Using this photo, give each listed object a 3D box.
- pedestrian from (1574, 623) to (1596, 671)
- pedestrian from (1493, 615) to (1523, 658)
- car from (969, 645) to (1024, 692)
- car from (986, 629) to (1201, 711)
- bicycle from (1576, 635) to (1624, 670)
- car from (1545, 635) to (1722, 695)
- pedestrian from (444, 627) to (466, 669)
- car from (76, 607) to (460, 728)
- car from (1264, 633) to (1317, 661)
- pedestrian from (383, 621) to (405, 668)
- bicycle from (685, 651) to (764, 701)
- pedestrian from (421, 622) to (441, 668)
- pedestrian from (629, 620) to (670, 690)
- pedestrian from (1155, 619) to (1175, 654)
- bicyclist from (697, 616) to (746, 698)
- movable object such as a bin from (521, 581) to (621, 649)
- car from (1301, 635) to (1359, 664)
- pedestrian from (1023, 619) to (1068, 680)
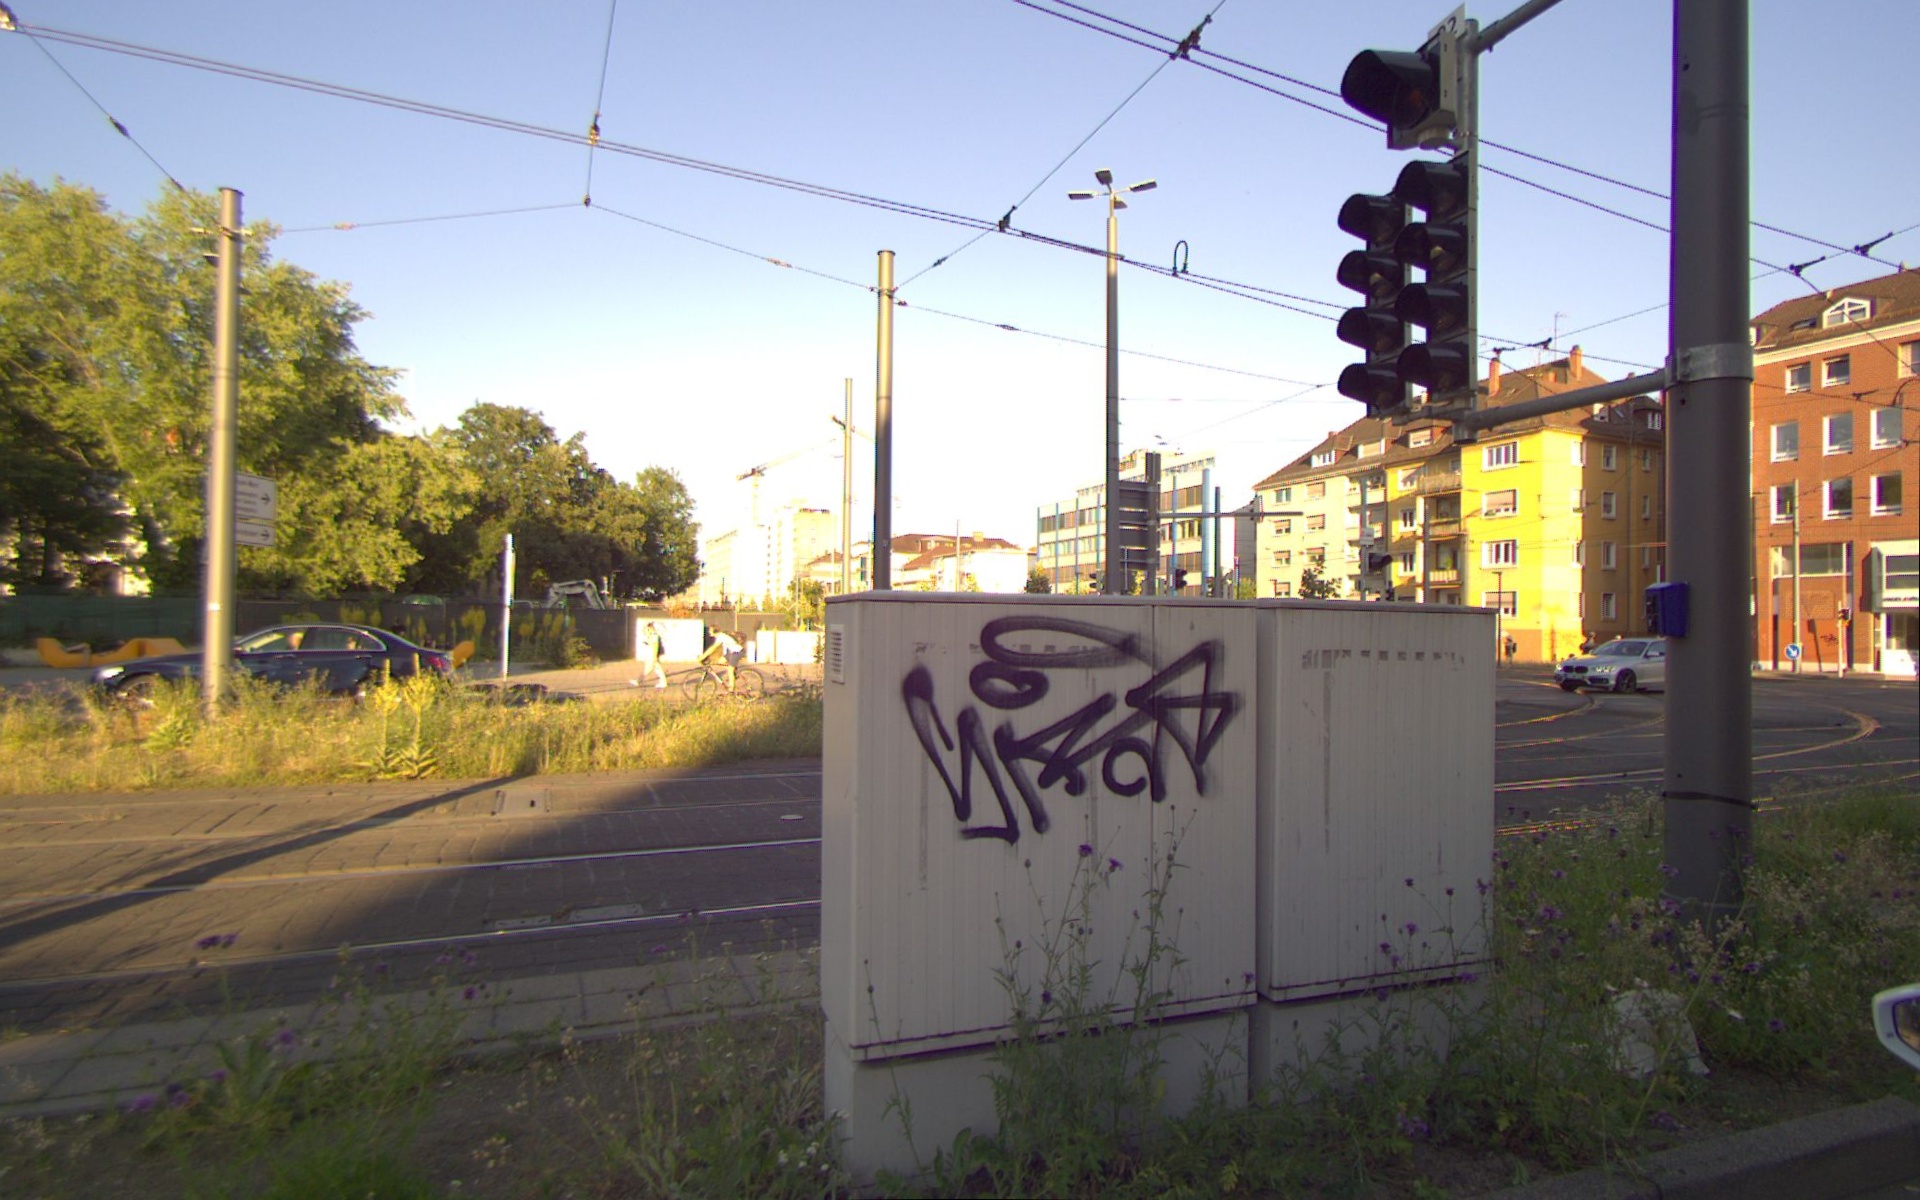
[{"bbox_3d":[25.112,1.872,40.378,0.555,1.893,0.501,1,0,-25],"label":"pedestrian"},{"bbox_3d":[24.758,1.645,45.365,0.924,1.893,0.839,1,0,11],"label":"pedestrian"},{"bbox_3d":[1.351,2.585,38.787,1.961,1.639,4.566,0,-2,0],"label":"car"},{"bbox_3d":[2.799,1.431,21.210,4.051,1.606,1.991,1,-2,-20],"label":"car"},{"bbox_3d":[25.414,2.079,39.887,1.987,1.343,0.616,1,0,-24],"label":"bicycle"},{"bbox_3d":[17.769,1.692,26.531,4.134,1.467,1.669,1,-2,-17],"label":"car"},{"bbox_3d":[-18.489,1.739,36.788,0.616,1.515,0.639,1,-2,-20],"label":"pedestrian"},{"bbox_3d":[-10.174,0.974,15.302,4.529,1.606,1.986,1,-2,-28],"label":"car"},{"bbox_3d":[27.238,3.866,82.973,1.973,2.040,3.975,1,0,-25],"label":"car"},{"bbox_3d":[-20.443,1.597,36.289,0.595,1.680,0.530,2,-2,-39],"label":"pedestrian"},{"bbox_3d":[-4.986,1.592,21.297,1.595,1.021,0.667,1,-2,-13],"label":"bicycle"},{"bbox_3d":[-19.173,1.629,36.433,0.592,1.680,0.532,1,-2,-27],"label":"pedestrian"},{"bbox_3d":[-8.577,1.501,27.753,0.959,1.892,0.883,1,-2,-12],"label":"pedestrian"},{"bbox_3d":[11.438,2.038,55.983,0.878,1.892,0.713,2,-2,-39],"label":"pedestrian"},{"bbox_3d":[-5.052,1.199,21.303,0.963,1.711,0.663,1,-2,-13],"label":"bicyclist"},{"bbox_3d":[-19.558,0.773,50.670,4.261,3.271,1.999,1,-1,-5],"label":"movable object such as a bin"},{"bbox_3d":[29.049,3.890,78.956,1.973,2.040,3.975,1,0,-25],"label":"car"},{"bbox_3d":[2.835,1.619,33.140,1.016,1.970,1.088,2,-2,-38],"label":"pedestrian"}]
